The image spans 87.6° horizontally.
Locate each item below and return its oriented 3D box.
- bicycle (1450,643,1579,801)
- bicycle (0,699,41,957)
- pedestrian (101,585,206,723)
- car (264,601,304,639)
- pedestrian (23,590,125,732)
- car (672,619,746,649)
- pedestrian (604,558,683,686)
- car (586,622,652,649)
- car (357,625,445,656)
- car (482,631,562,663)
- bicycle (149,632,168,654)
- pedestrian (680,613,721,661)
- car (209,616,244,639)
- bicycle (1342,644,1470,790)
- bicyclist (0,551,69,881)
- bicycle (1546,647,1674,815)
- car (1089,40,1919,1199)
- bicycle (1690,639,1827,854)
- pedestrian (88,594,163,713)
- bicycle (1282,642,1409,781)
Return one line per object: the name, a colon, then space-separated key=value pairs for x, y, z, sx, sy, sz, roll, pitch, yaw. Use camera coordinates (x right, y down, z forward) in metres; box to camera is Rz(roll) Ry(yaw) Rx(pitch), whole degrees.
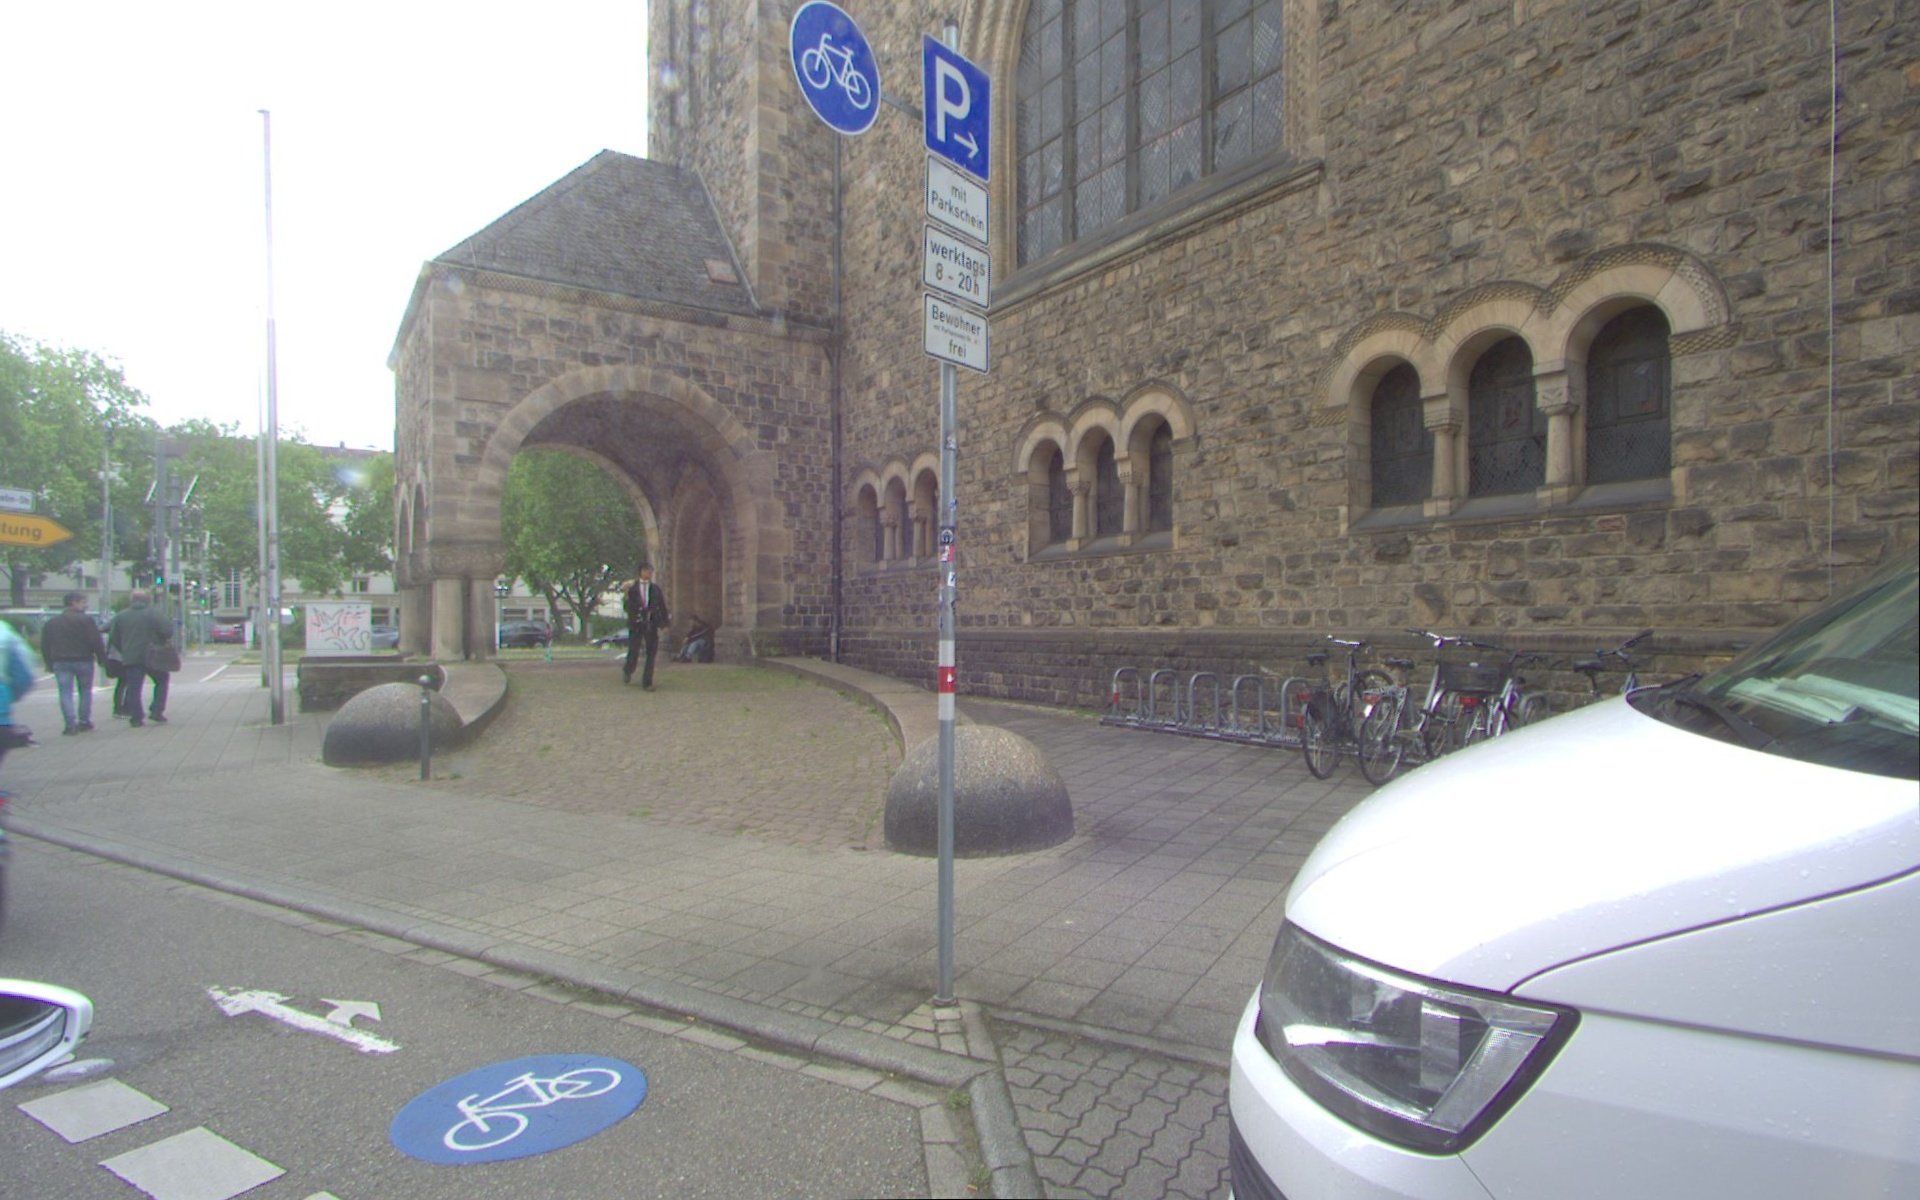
bicycle: x=4.175 y=0.872 z=7.505 sx=1.366 sy=1.073 sz=0.309 roll=1 pitch=-1 yaw=-36
bicycle: x=-5.210 y=1.040 z=4.923 sx=2.108 sy=1.112 sz=0.493 roll=0 pitch=-1 yaw=32
pedestrian: x=-10.924 y=0.701 z=13.572 sx=0.955 sy=1.782 sz=0.802 roll=0 pitch=2 yaw=32
car: x=-50.323 y=1.486 z=74.617 sx=2.211 sy=2.673 sz=5.417 roll=1 pitch=-1 yaw=-31
pedestrian: x=-11.159 y=0.740 z=12.614 sx=0.955 sy=1.708 sz=0.673 roll=0 pitch=2 yaw=32
car: x=-18.822 y=2.534 z=75.164 sx=5.023 sy=2.123 sz=1.979 roll=1 pitch=-1 yaw=-35
pedestrian: x=-4.749 y=0.308 z=14.995 sx=0.806 sy=1.833 sz=1.012 roll=0 pitch=3 yaw=-37
car: x=-20.134 y=2.078 z=59.156 sx=3.423 sy=1.581 sz=1.676 roll=1 pitch=-1 yaw=-35
car: x=-29.618 y=2.104 z=53.051 sx=3.939 sy=1.581 sz=1.676 roll=1 pitch=-1 yaw=-35
car: x=-24.775 y=2.638 z=56.692 sx=3.899 sy=1.733 sz=1.676 roll=1 pitch=-1 yaw=-35
bicycle: x=-38.480 y=2.047 z=48.078 sx=0.546 sy=1.008 sz=2.047 roll=0 pitch=-1 yaw=-35
pedestrian: x=-5.348 y=0.755 z=20.628 sx=0.665 sy=0.964 sz=0.611 roll=0 pitch=-1 yaw=-36
car: x=-51.638 y=1.922 z=70.574 sx=1.647 sy=1.535 sz=3.916 roll=1 pitch=-1 yaw=-31
bicycle: x=3.616 y=0.907 z=8.075 sx=1.366 sy=1.073 sz=0.309 roll=1 pitch=-1 yaw=-36
bicyclist: x=-4.964 y=0.542 z=4.869 sx=1.043 sy=1.537 sz=0.684 roll=0 pitch=0 yaw=32
bicycle: x=4.610 y=0.882 z=7.074 sx=1.327 sy=1.073 sz=0.309 roll=1 pitch=-1 yaw=-36
car: x=2.802 y=0.464 z=0.792 sx=5.088 sy=1.945 sz=1.802 roll=-1 pitch=-1 yaw=31
bicycle: x=4.802 y=0.823 z=6.001 sx=1.327 sy=1.161 sz=0.309 roll=1 pitch=-1 yaw=-36
pedestrian: x=-12.399 y=0.763 z=14.879 sx=0.957 sy=1.696 sz=0.630 roll=0 pitch=2 yaw=39
bicycle: x=3.257 y=0.898 z=8.420 sx=1.366 sy=1.073 sz=0.309 roll=1 pitch=-1 yaw=-36
